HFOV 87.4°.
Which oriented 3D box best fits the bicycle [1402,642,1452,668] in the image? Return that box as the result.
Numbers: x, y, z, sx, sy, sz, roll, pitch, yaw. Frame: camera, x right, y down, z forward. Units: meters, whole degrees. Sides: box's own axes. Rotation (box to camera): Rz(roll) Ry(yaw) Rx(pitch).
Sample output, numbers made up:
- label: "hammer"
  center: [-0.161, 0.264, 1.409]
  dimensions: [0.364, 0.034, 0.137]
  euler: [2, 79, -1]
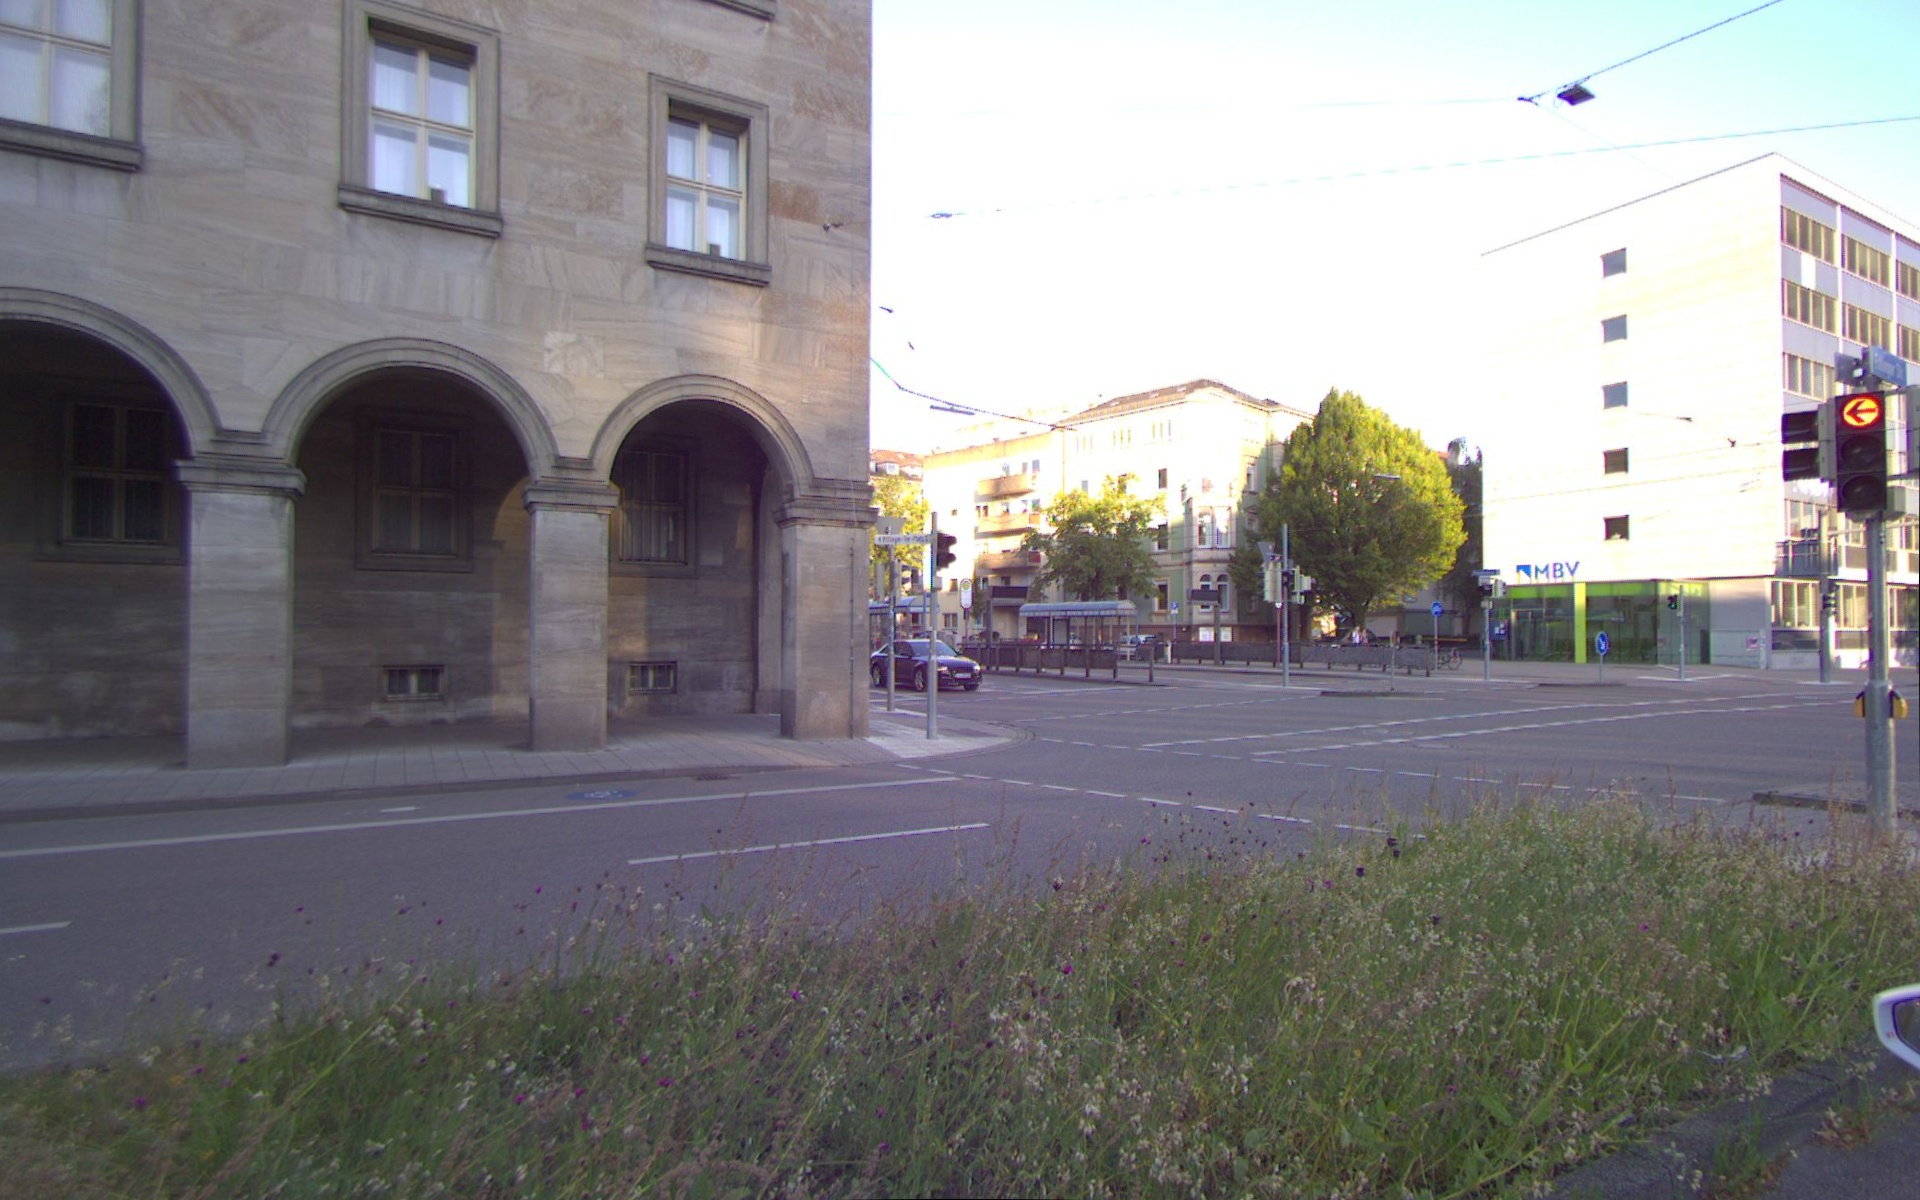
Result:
- label: "bicycle"
  center: [20.762, 2.420, 44.605]
  dimensions: [2.183, 1.127, 0.834]
  euler: [1, -2, -26]

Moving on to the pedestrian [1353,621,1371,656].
- label: "pedestrian"
  center: [21.125, 2.019, 52.752]
  dimensions: [0.718, 1.813, 0.634]
  euler: [2, -2, -43]

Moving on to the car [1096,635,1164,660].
- label: "car"
  center: [10.006, 2.779, 59.216]
  dimensions: [3.545, 1.390, 1.830]
  euler: [-2, -3, 45]

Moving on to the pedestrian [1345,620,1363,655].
- label: "pedestrian"
  center: [20.516, 1.960, 52.297]
  dimensions: [0.718, 1.813, 0.634]
  euler: [2, -2, -44]

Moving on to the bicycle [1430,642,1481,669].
- label: "bicycle"
  center: [21.562, 2.407, 43.682]
  dimensions: [2.183, 1.127, 0.834]
  euler: [1, -2, -26]

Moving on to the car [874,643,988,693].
- label: "car"
  center: [-0.935, 1.957, 29.732]
  dimensions: [1.791, 1.344, 4.120]
  euler: [1, -2, -27]
